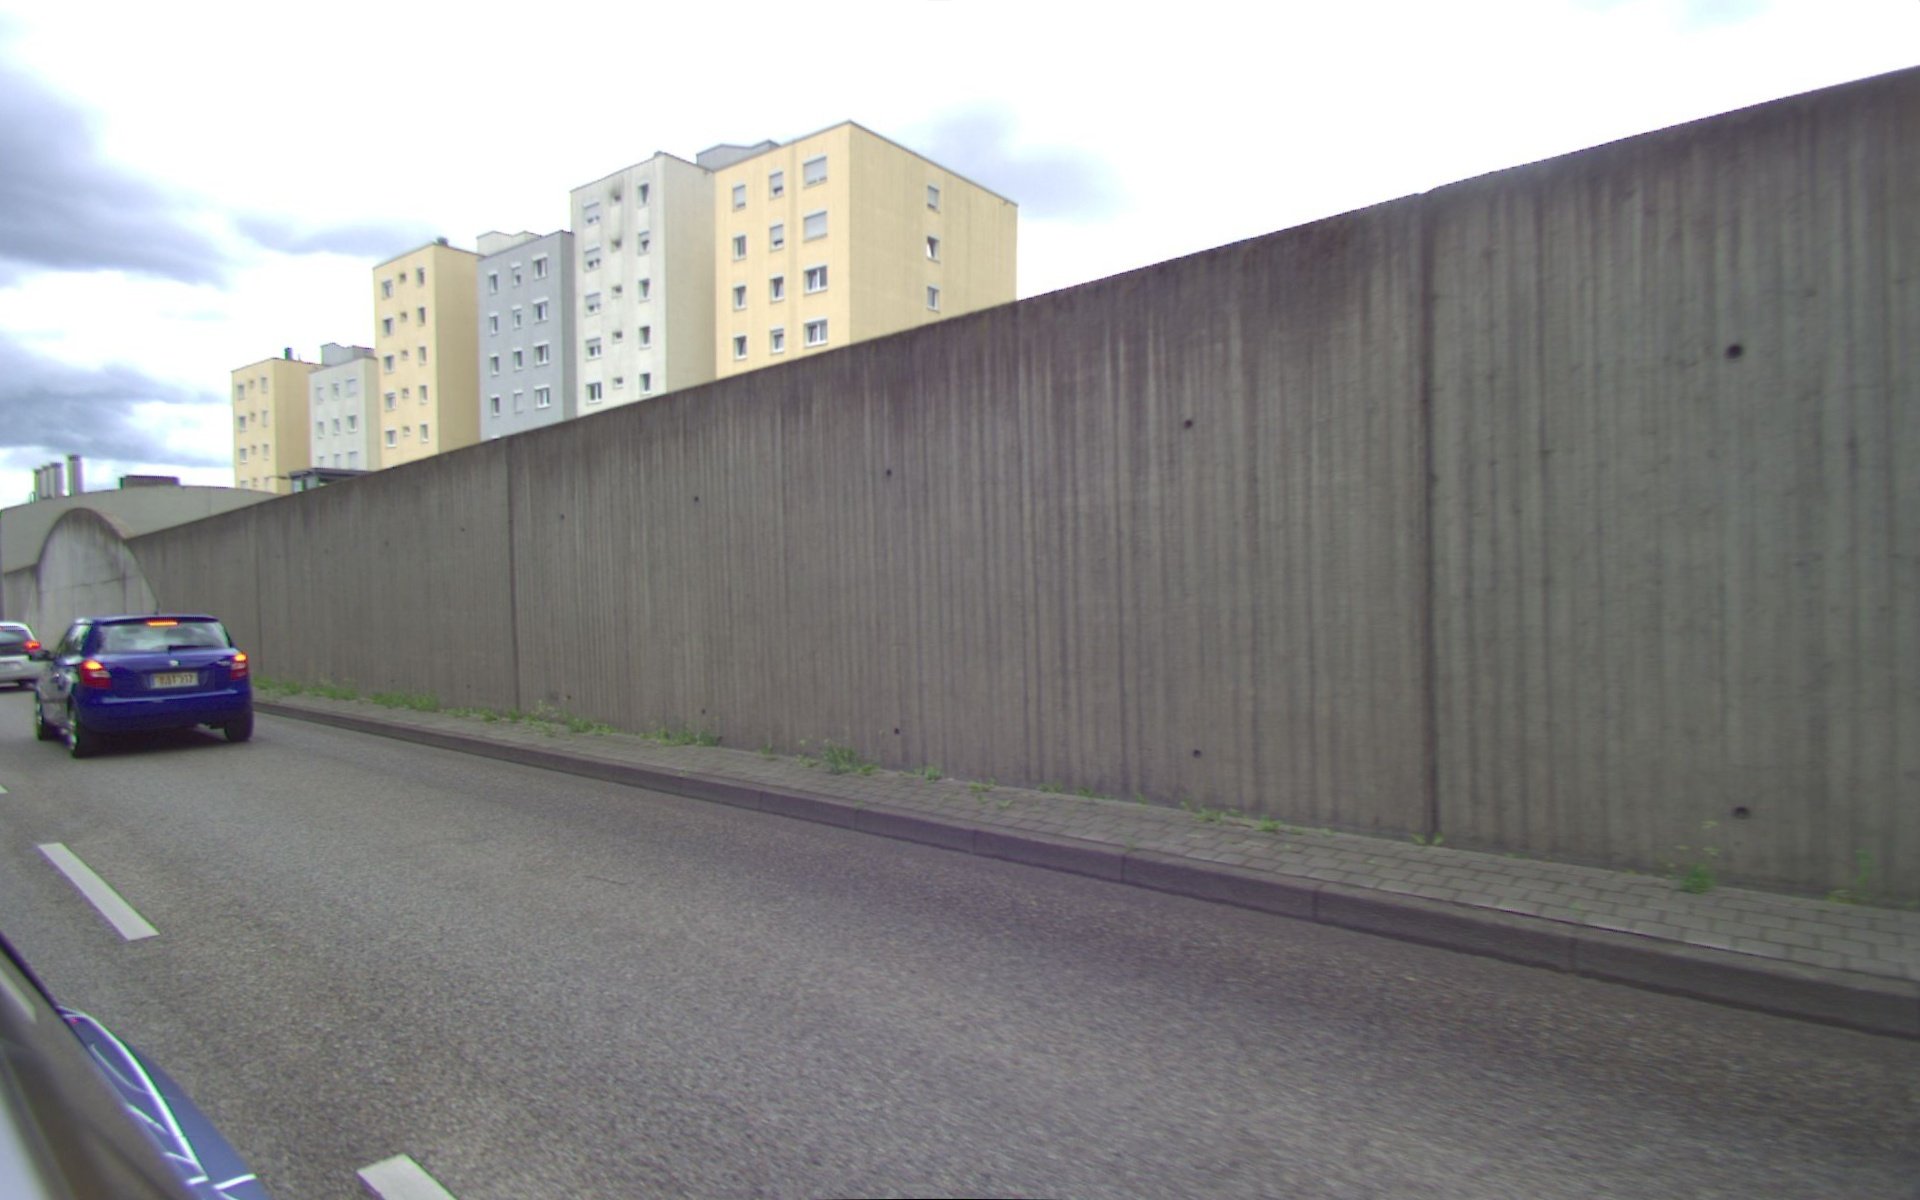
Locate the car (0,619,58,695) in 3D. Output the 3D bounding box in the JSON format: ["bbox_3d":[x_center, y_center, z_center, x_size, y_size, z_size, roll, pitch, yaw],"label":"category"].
[{"bbox_3d":[-21.172,1.220,22.002,4.207,1.507,1.895,-1,0,42],"label":"car"}]

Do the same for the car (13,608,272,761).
[{"bbox_3d":[-10.003,0.897,12.269,4.206,1.507,1.749,-1,0,41],"label":"car"}]
